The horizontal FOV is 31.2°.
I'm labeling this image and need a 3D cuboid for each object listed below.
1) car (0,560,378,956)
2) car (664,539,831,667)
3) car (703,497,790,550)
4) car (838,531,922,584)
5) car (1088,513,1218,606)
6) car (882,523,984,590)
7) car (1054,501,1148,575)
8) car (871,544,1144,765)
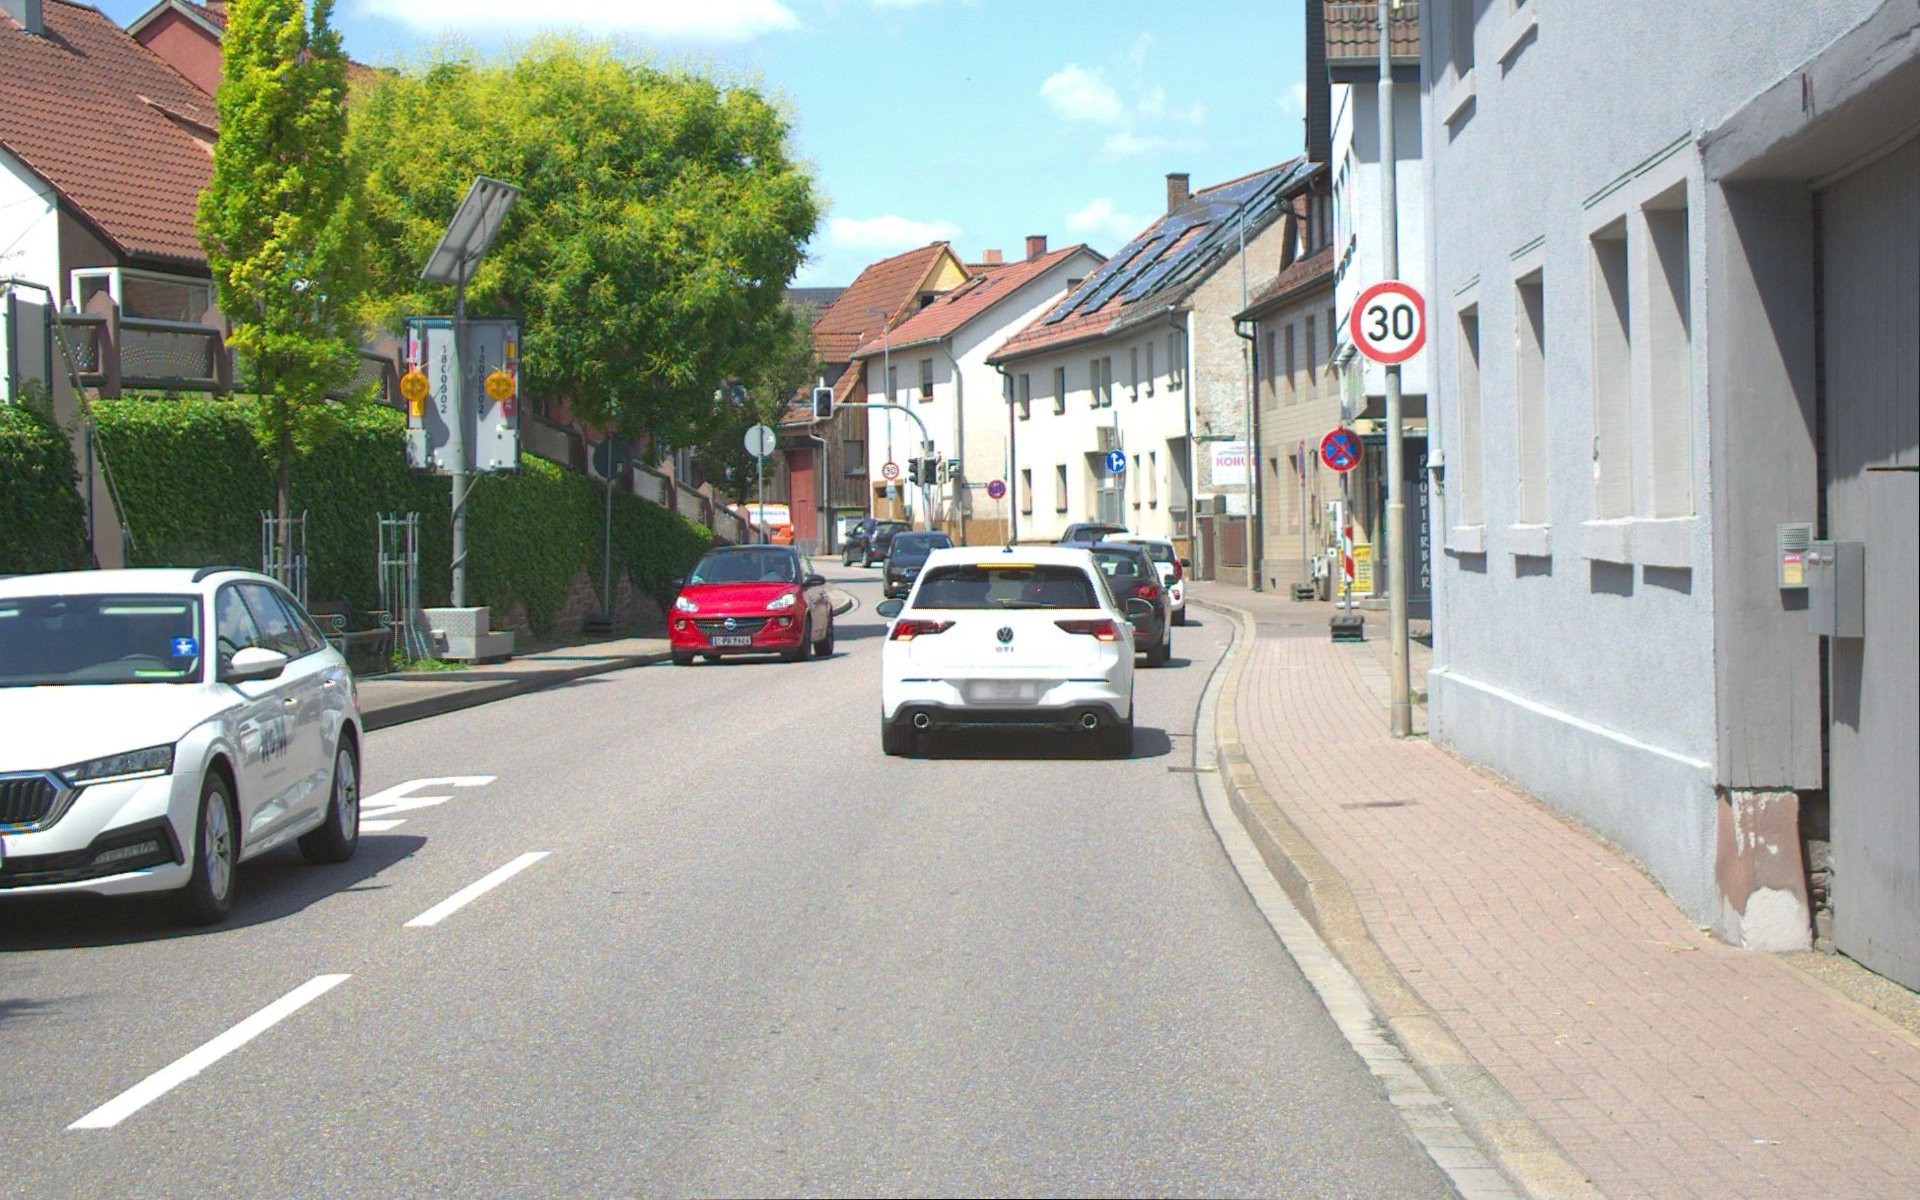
[{"bbox_3d":[-3.886,0.600,15.296,1.813,1.442,4.430,-2,1,0],"label":"car"},{"bbox_3d":[-2.630,0.007,43.287,1.617,1.439,3.801,-3,1,3],"label":"car"},{"bbox_3d":[-7.303,-2.605,117.334,1.775,1.759,4.001,-2,1,-22],"label":"car"},{"bbox_3d":[-2.426,-1.303,103.668,1.775,1.533,4.001,-1,1,-12],"label":"car"},{"bbox_3d":[3.236,-0.680,57.028,1.808,1.462,3.999,1,1,8],"label":"car"},{"bbox_3d":[-0.552,-0.959,74.641,1.794,1.373,4.116,-1,1,5],"label":"car"},{"bbox_3d":[3.047,-1.361,74.857,1.775,1.533,4.000,-1,1,-1],"label":"car"},{"bbox_3d":[0.284,0.332,24.937,1.807,1.462,4.000,1,1,-1],"label":"car"}]
